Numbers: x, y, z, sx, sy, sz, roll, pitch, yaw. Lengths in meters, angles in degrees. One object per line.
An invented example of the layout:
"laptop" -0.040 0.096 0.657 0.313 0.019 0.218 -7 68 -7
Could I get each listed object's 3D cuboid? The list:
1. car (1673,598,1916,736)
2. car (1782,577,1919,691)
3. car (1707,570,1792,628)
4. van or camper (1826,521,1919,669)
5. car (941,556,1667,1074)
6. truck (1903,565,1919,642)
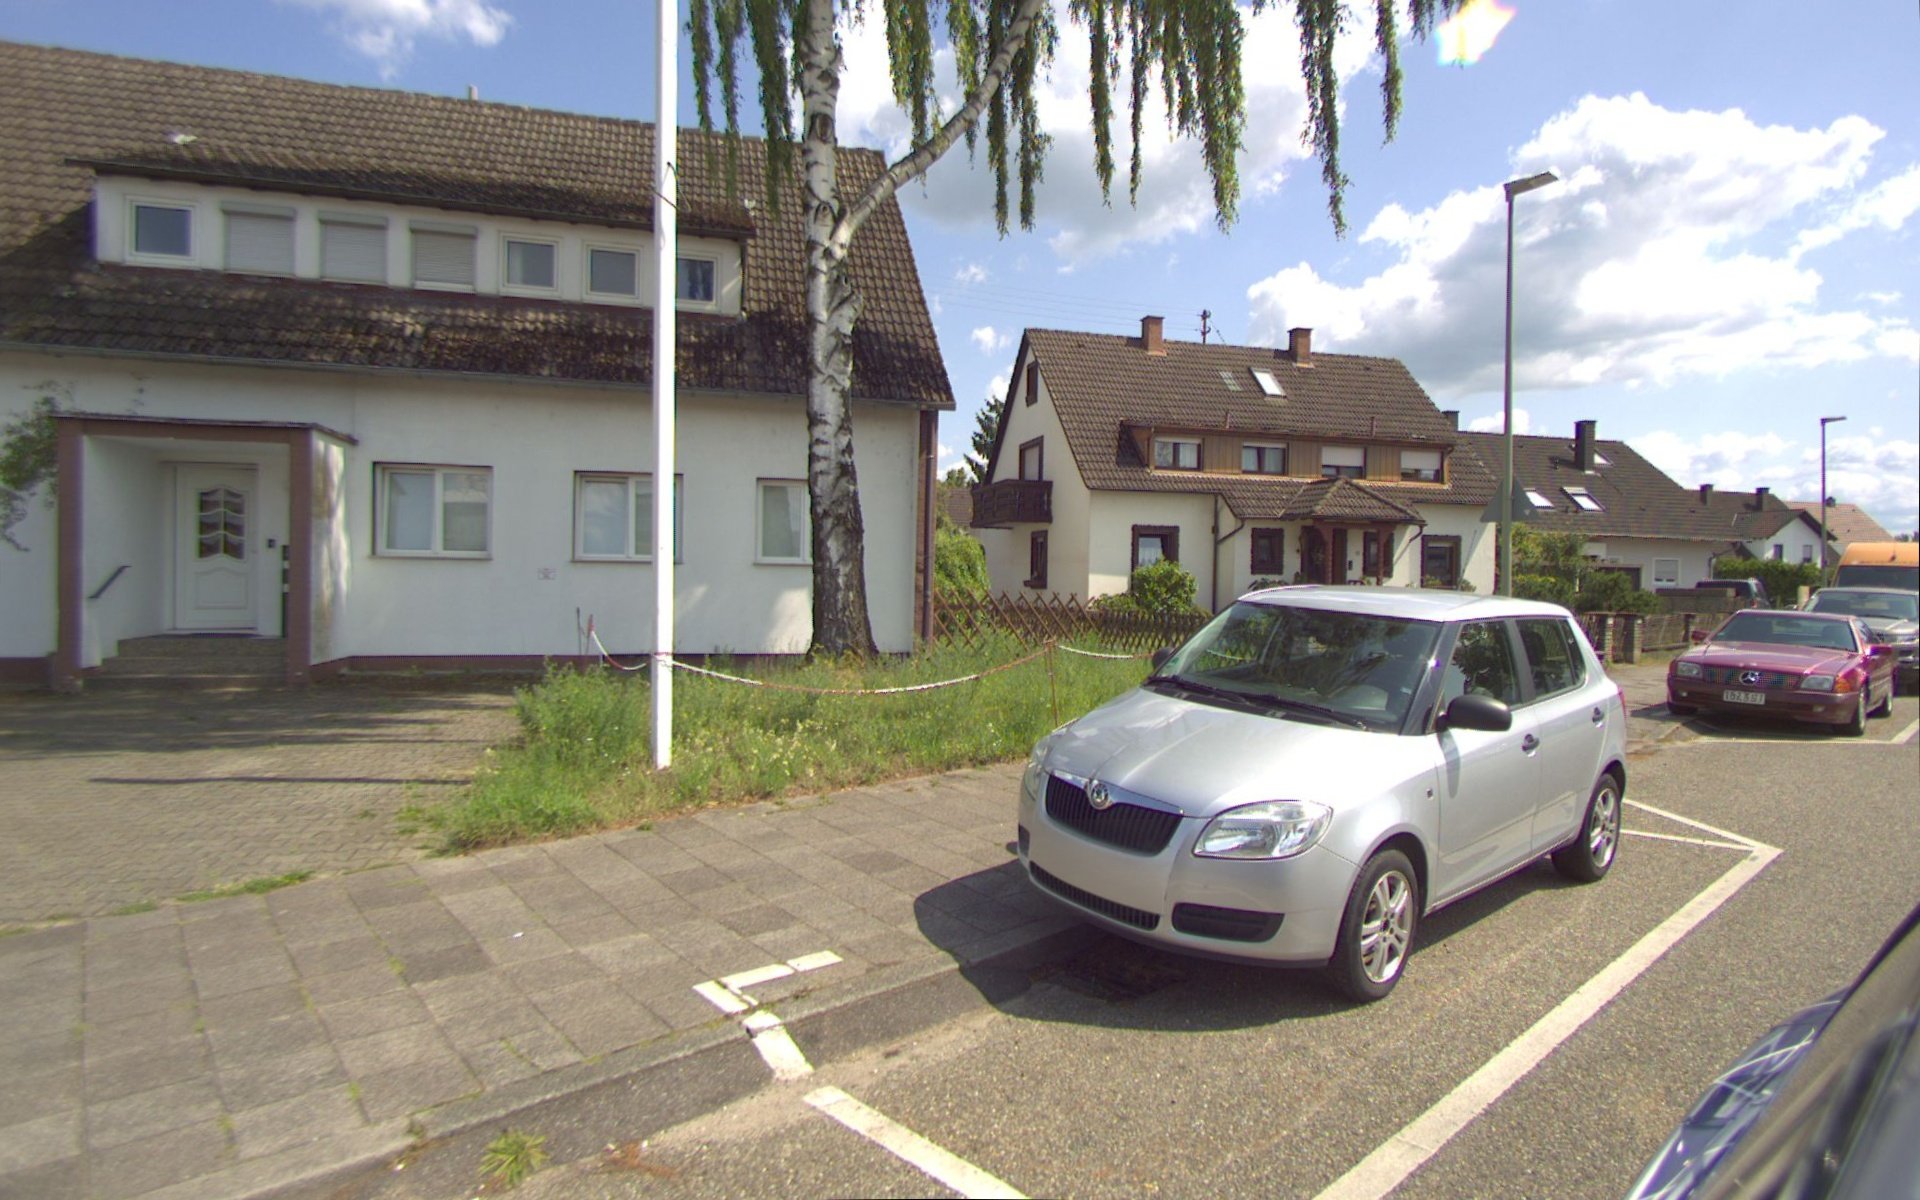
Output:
"car" 10.297 0.681 12.372 4.361 1.351 1.671 -1 1 -42
"car" 15.169 0.469 16.723 4.166 1.660 1.835 -1 1 -42
"car" 27.818 -0.078 35.598 1.857 1.889 4.942 1 1 44
"van or camper" 19.337 -0.115 20.616 5.673 2.697 1.995 -1 1 -44
"car" 1.937 0.650 5.029 3.929 1.601 1.613 -1 0 -40
"truck" 31.989 0.061 32.026 5.793 2.329 2.526 -1 -1 -41
